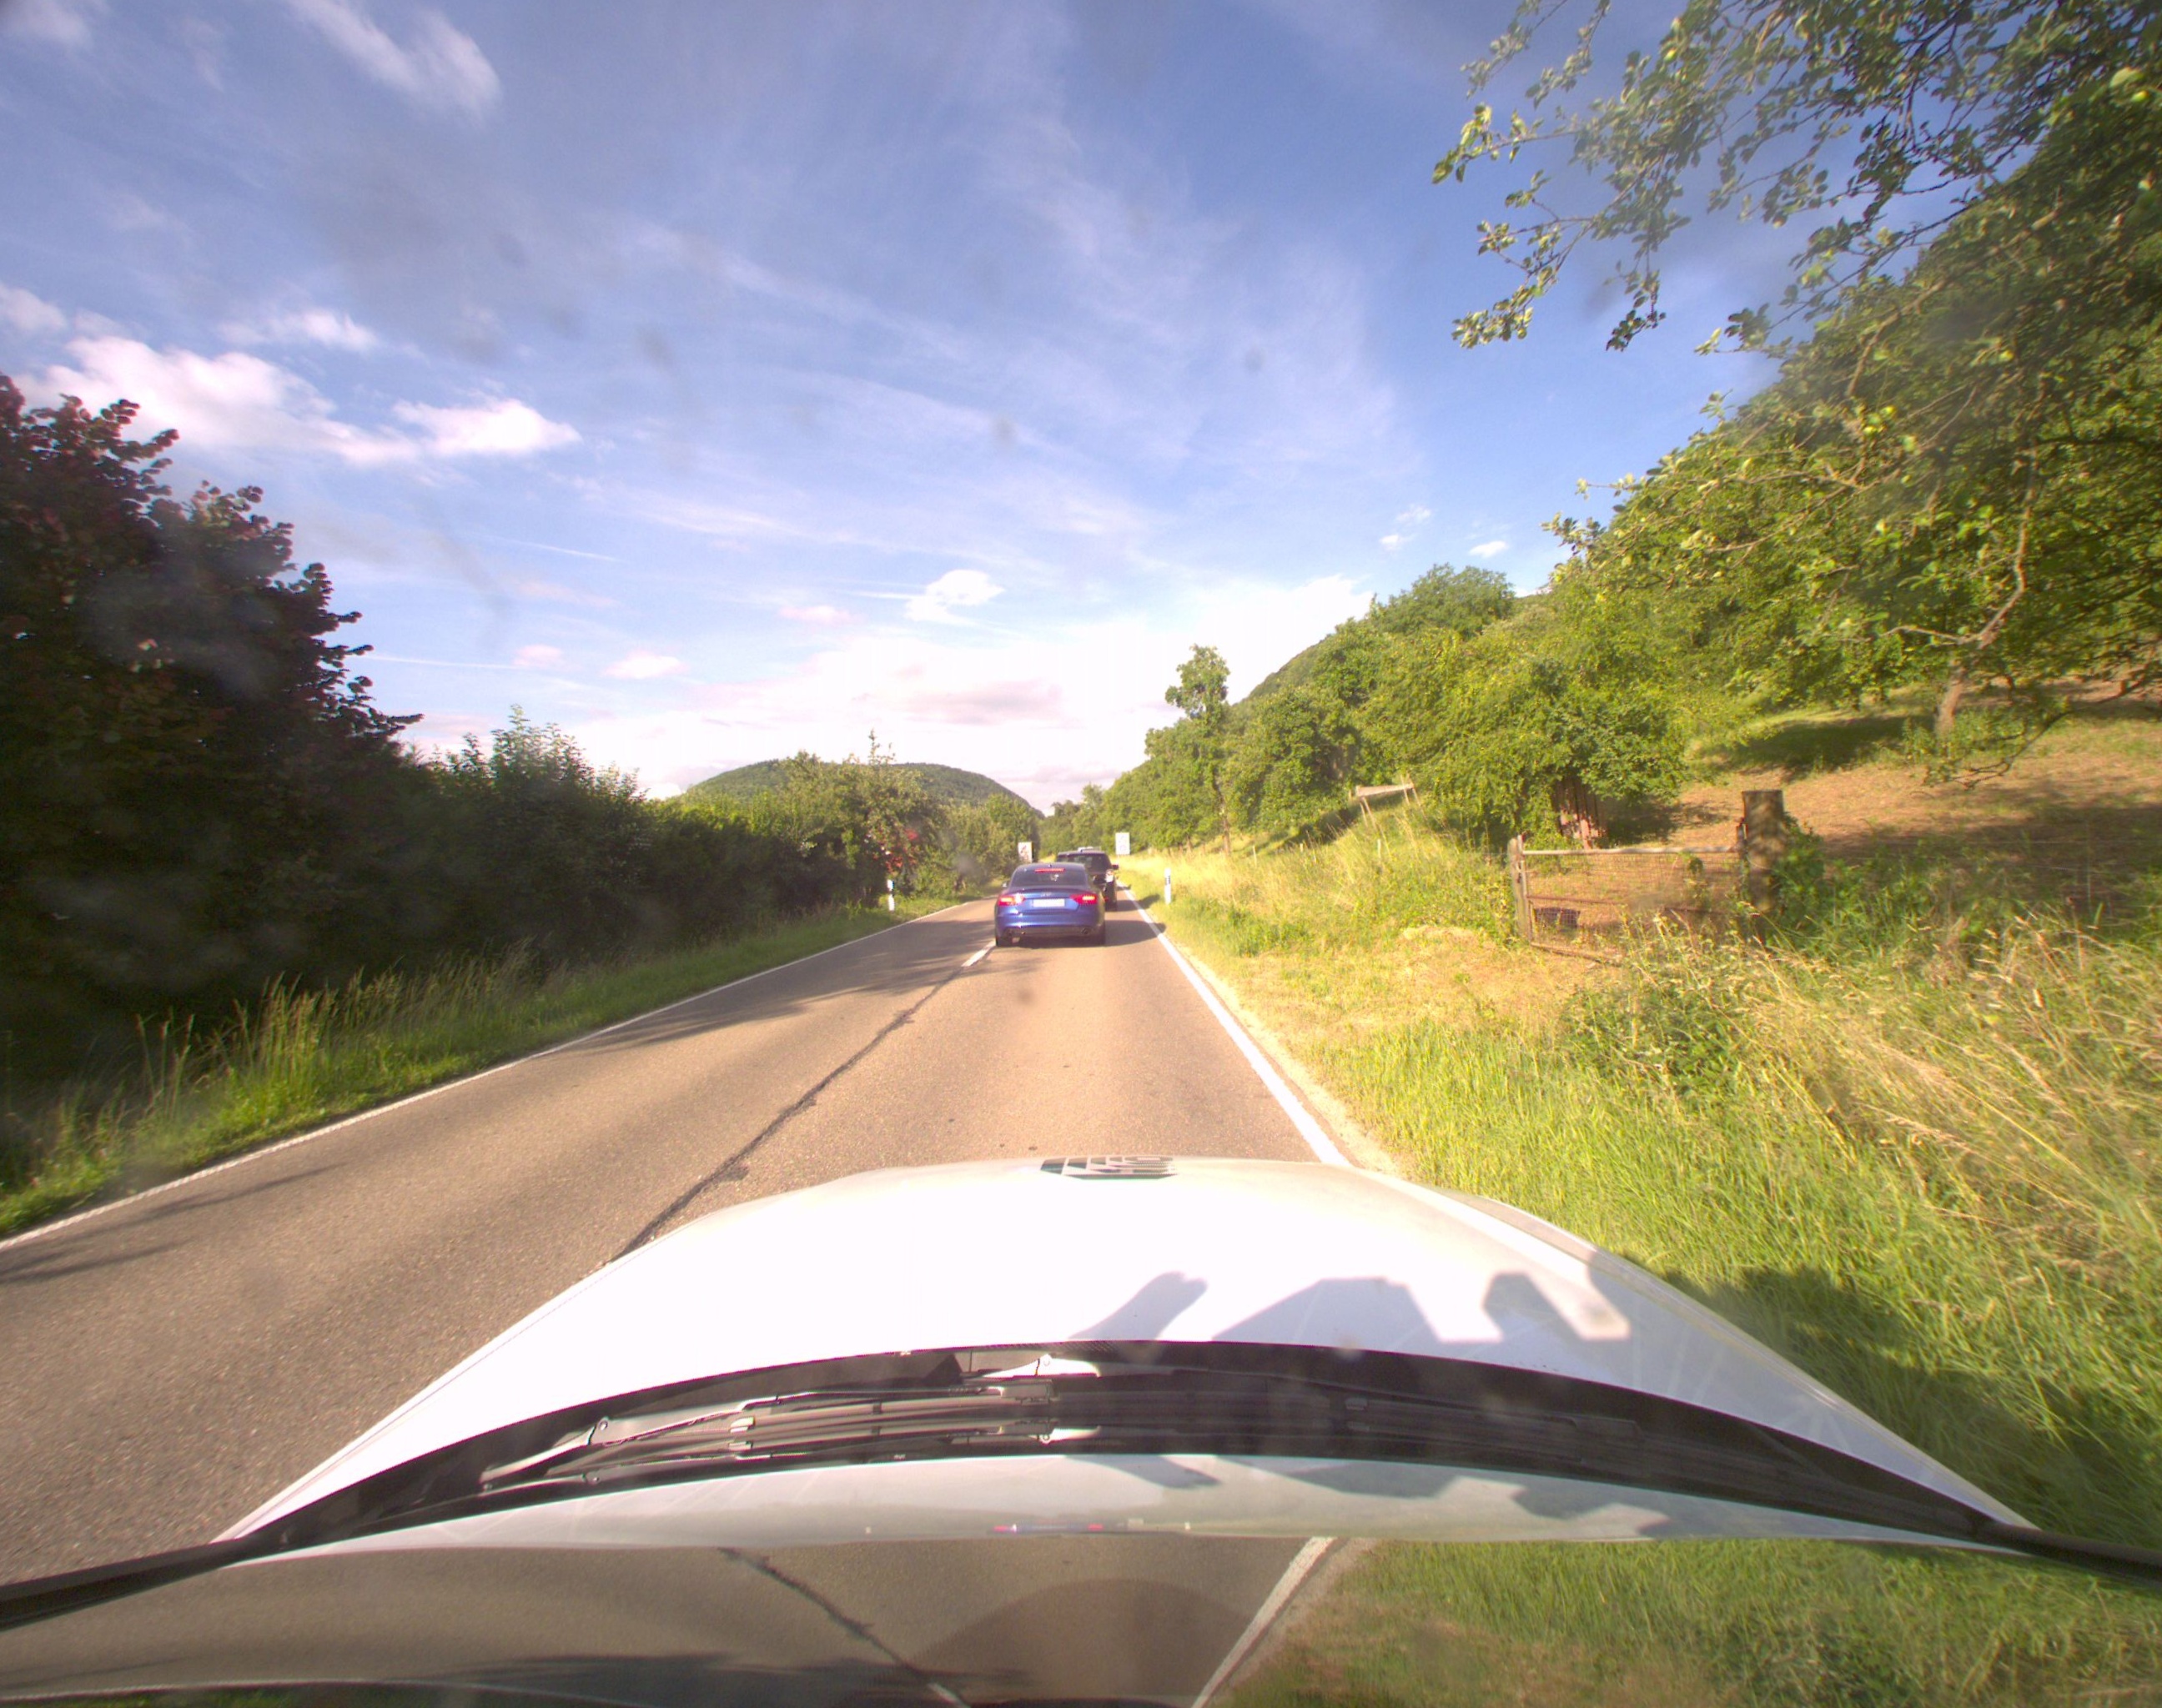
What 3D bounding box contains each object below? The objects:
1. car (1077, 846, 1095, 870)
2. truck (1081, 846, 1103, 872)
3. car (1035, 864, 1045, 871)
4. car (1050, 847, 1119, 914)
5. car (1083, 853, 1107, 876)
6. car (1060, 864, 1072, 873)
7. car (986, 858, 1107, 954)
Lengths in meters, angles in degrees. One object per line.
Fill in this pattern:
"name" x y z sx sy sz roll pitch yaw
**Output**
"car" 0.479 0.406 85.927 1.787 2.453 3.916 0 0 -2
"truck" 0.980 0.457 75.541 1.943 2.345 5.093 0 0 0
"car" -8.736 2.833 173.457 1.560 1.496 3.763 0 0 -11
"car" 0.108 0.664 22.157 1.687 1.624 3.789 -1 0 1
"car" 1.019 0.731 59.234 1.687 1.624 3.789 -1 0 1
"car" -2.522 2.426 136.790 1.557 1.496 3.768 0 0 -8
"car" -0.478 0.806 14.533 1.799 1.382 4.216 -2 0 1
